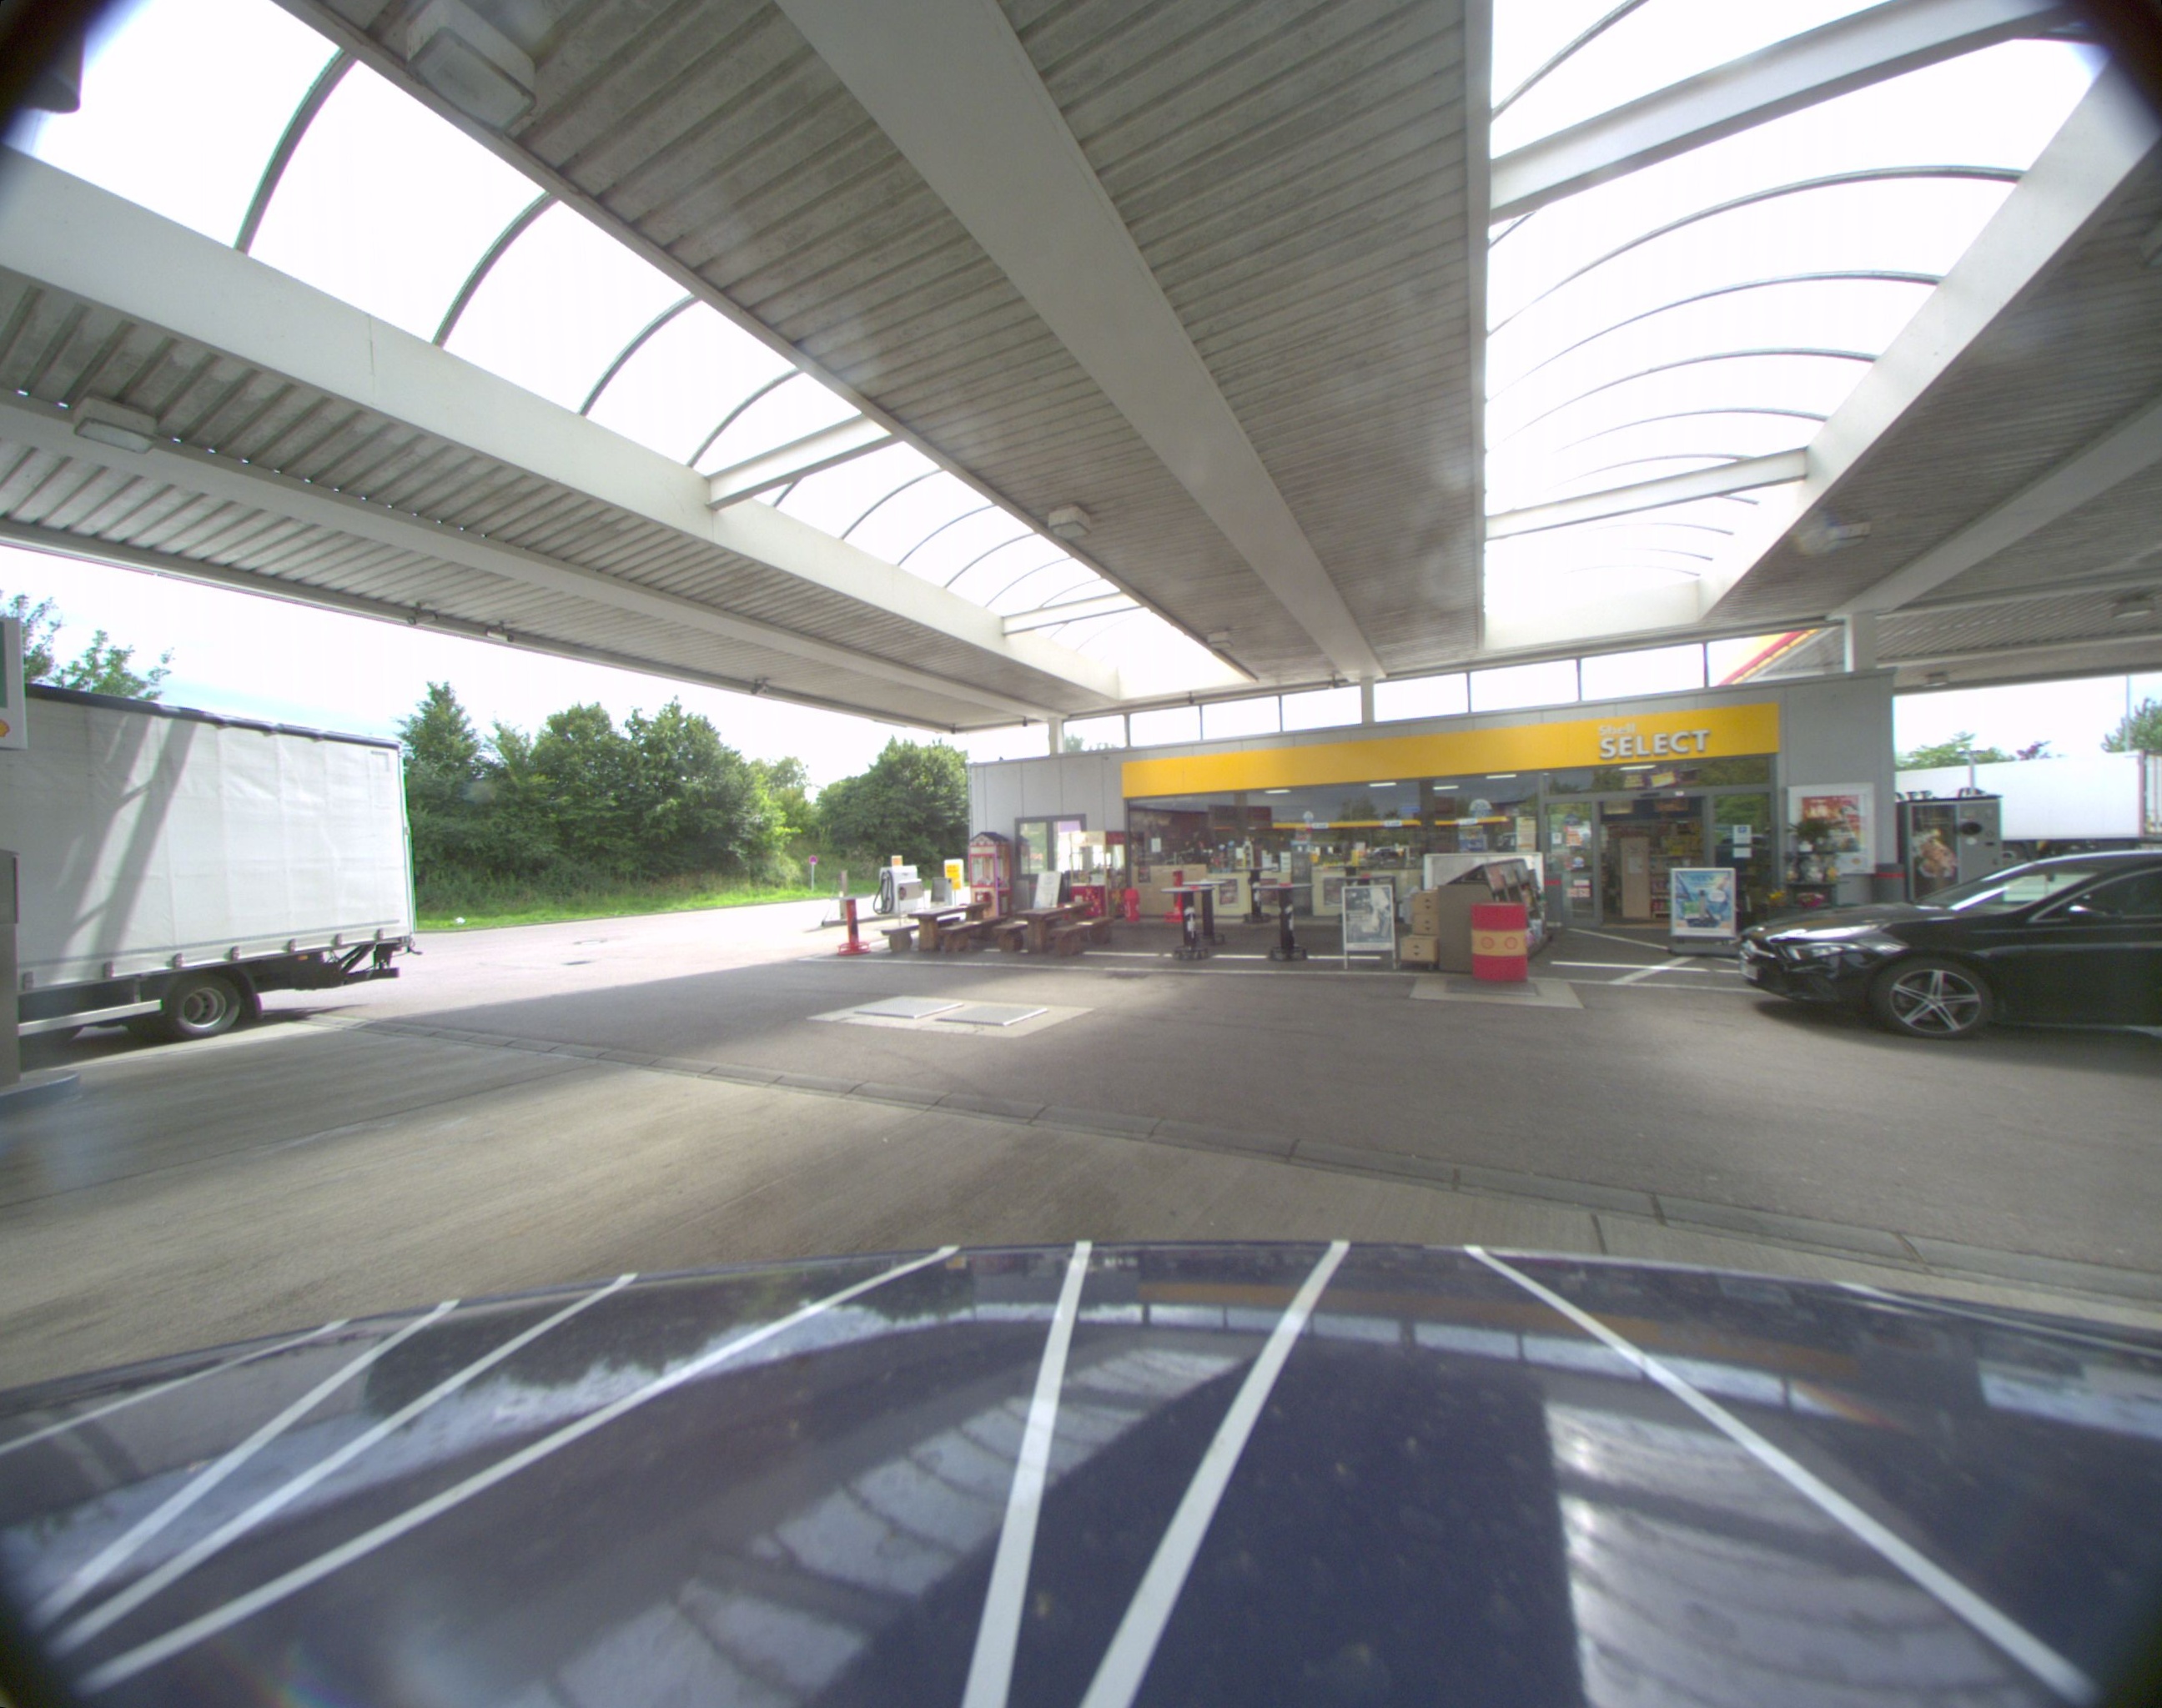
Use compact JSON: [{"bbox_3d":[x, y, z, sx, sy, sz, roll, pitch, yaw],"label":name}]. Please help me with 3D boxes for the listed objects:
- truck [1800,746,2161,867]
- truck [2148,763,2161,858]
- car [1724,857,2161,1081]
[{"bbox_3d":[35.128,-1.612,30.048,2.796,3.982,9.578,-3,1,-16],"label":"truck"},{"bbox_3d":[51.477,-2.039,33.127,3.383,4.479,6.239,-2,1,29],"label":"truck"},{"bbox_3d":[8.160,0.811,5.966,4.461,1.491,1.782,-2,1,28],"label":"car"}]
